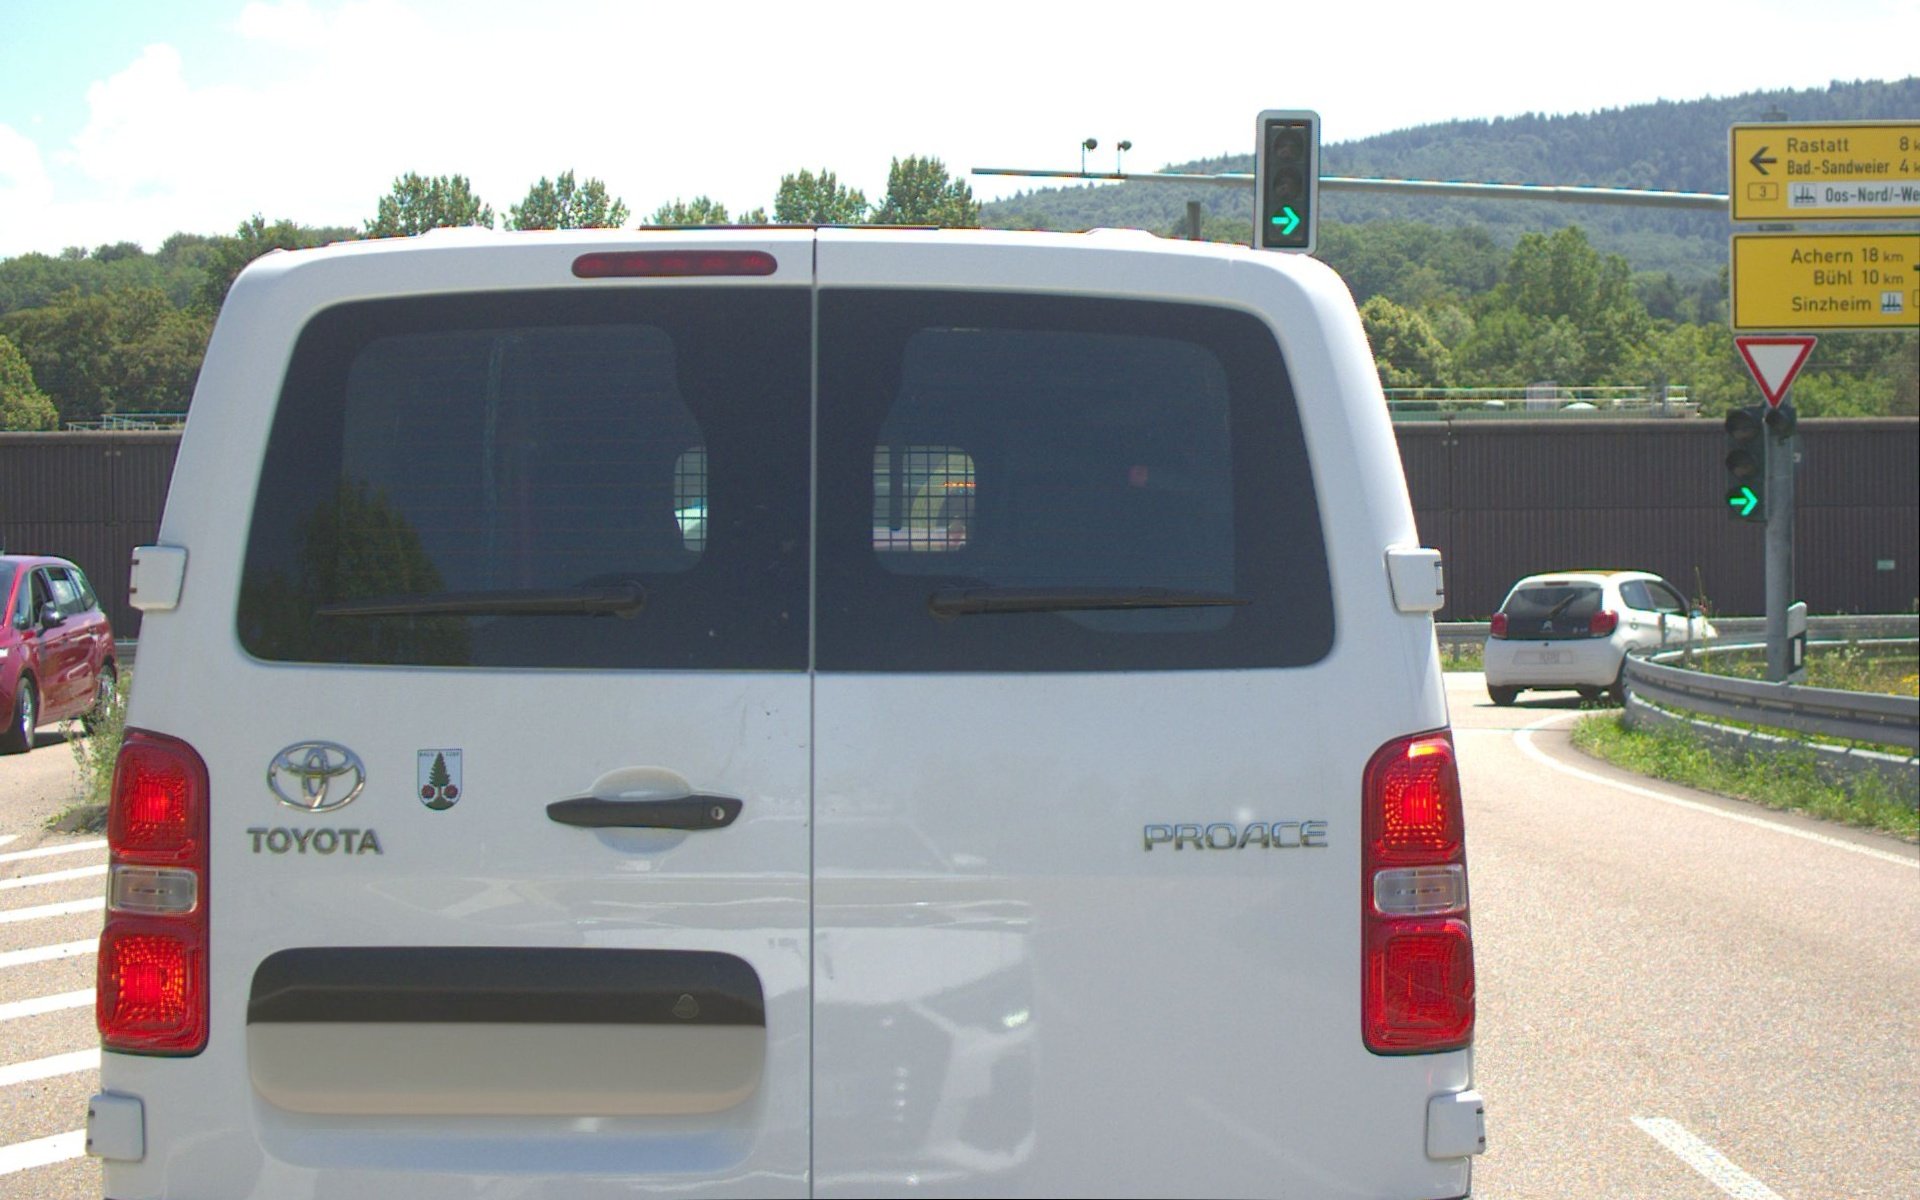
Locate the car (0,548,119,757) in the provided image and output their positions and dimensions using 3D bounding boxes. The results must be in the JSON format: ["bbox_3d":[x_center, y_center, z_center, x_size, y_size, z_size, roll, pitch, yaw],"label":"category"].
[{"bbox_3d":[-8.603,0.391,29.207,1.993,1.651,4.324,0,0,-2],"label":"car"}]

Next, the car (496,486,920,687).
[{"bbox_3d":[-3.192,-0.193,44.468,5.347,2.442,2.038,-1,1,-42],"label":"car"}]

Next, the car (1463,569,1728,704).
[{"bbox_3d":[7.089,0.378,38.174,1.659,1.426,3.359,1,0,35],"label":"car"}]

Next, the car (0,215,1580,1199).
[{"bbox_3d":[-0.259,0.480,6.067,1.886,1.880,4.000,0,0,-1],"label":"car"}]

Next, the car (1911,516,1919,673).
[{"bbox_3d":[14.720,-0.047,43.697,4.820,1.993,1.935,0,0,-20],"label":"car"}]
